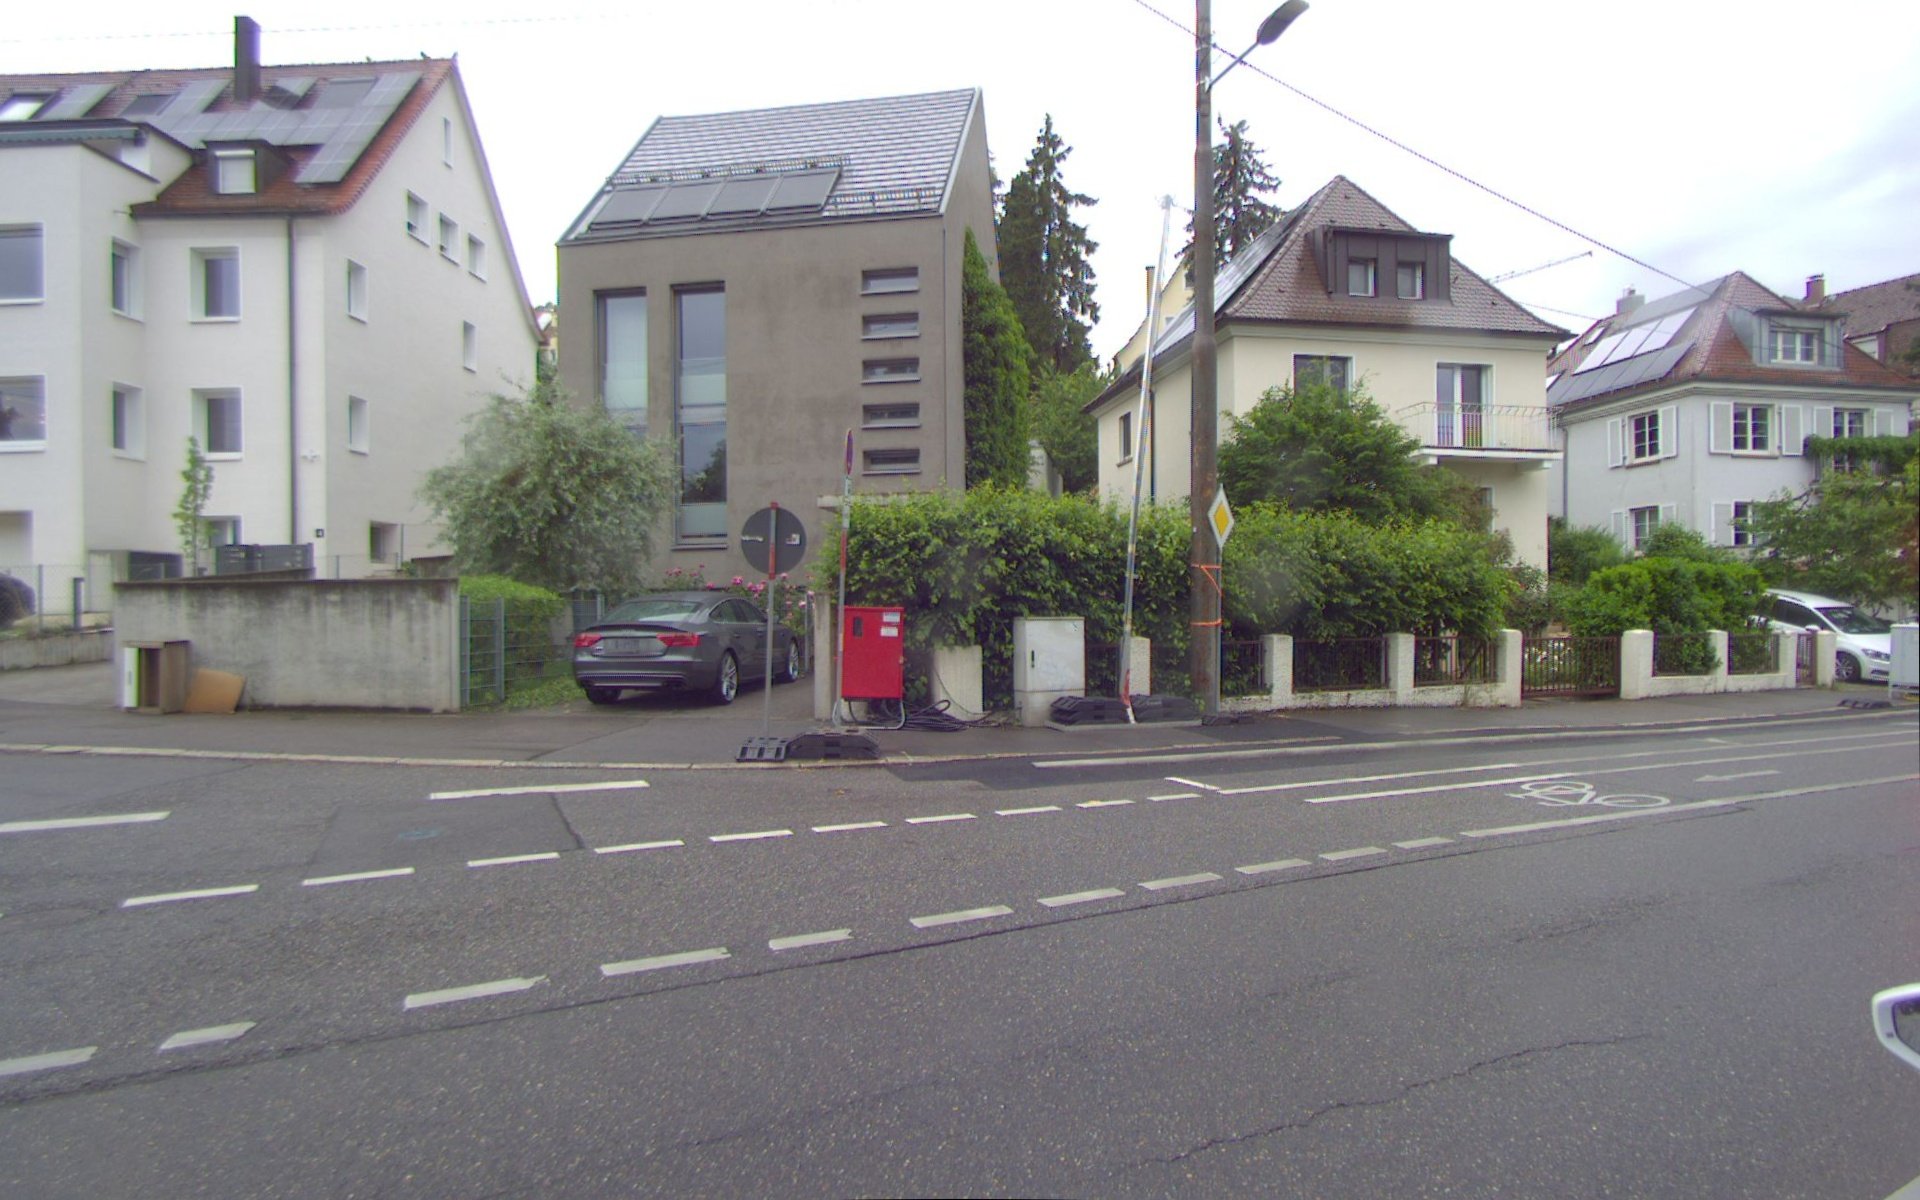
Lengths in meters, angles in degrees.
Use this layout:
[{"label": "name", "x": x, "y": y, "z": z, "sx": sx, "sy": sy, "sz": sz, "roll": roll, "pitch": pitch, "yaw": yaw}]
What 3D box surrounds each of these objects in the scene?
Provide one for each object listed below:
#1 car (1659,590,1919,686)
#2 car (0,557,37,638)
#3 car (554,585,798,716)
[{"label": "car", "x": 19.595, "y": 0.810, "z": 23.920, "sx": 1.870, "sy": 2.033, "sz": 4.628, "roll": 1, "pitch": 0, "yaw": -18}, {"label": "car", "x": -16.733, "y": 0.042, "z": 15.176, "sx": 1.576, "sy": 1.298, "sz": 4.008, "roll": 2, "pitch": 4, "yaw": 6}, {"label": "car", "x": -3.609, "y": 0.556, "z": 13.583, "sx": 1.740, "sy": 1.506, "sz": 4.002, "roll": 0, "pitch": 1, "yaw": 7}]
